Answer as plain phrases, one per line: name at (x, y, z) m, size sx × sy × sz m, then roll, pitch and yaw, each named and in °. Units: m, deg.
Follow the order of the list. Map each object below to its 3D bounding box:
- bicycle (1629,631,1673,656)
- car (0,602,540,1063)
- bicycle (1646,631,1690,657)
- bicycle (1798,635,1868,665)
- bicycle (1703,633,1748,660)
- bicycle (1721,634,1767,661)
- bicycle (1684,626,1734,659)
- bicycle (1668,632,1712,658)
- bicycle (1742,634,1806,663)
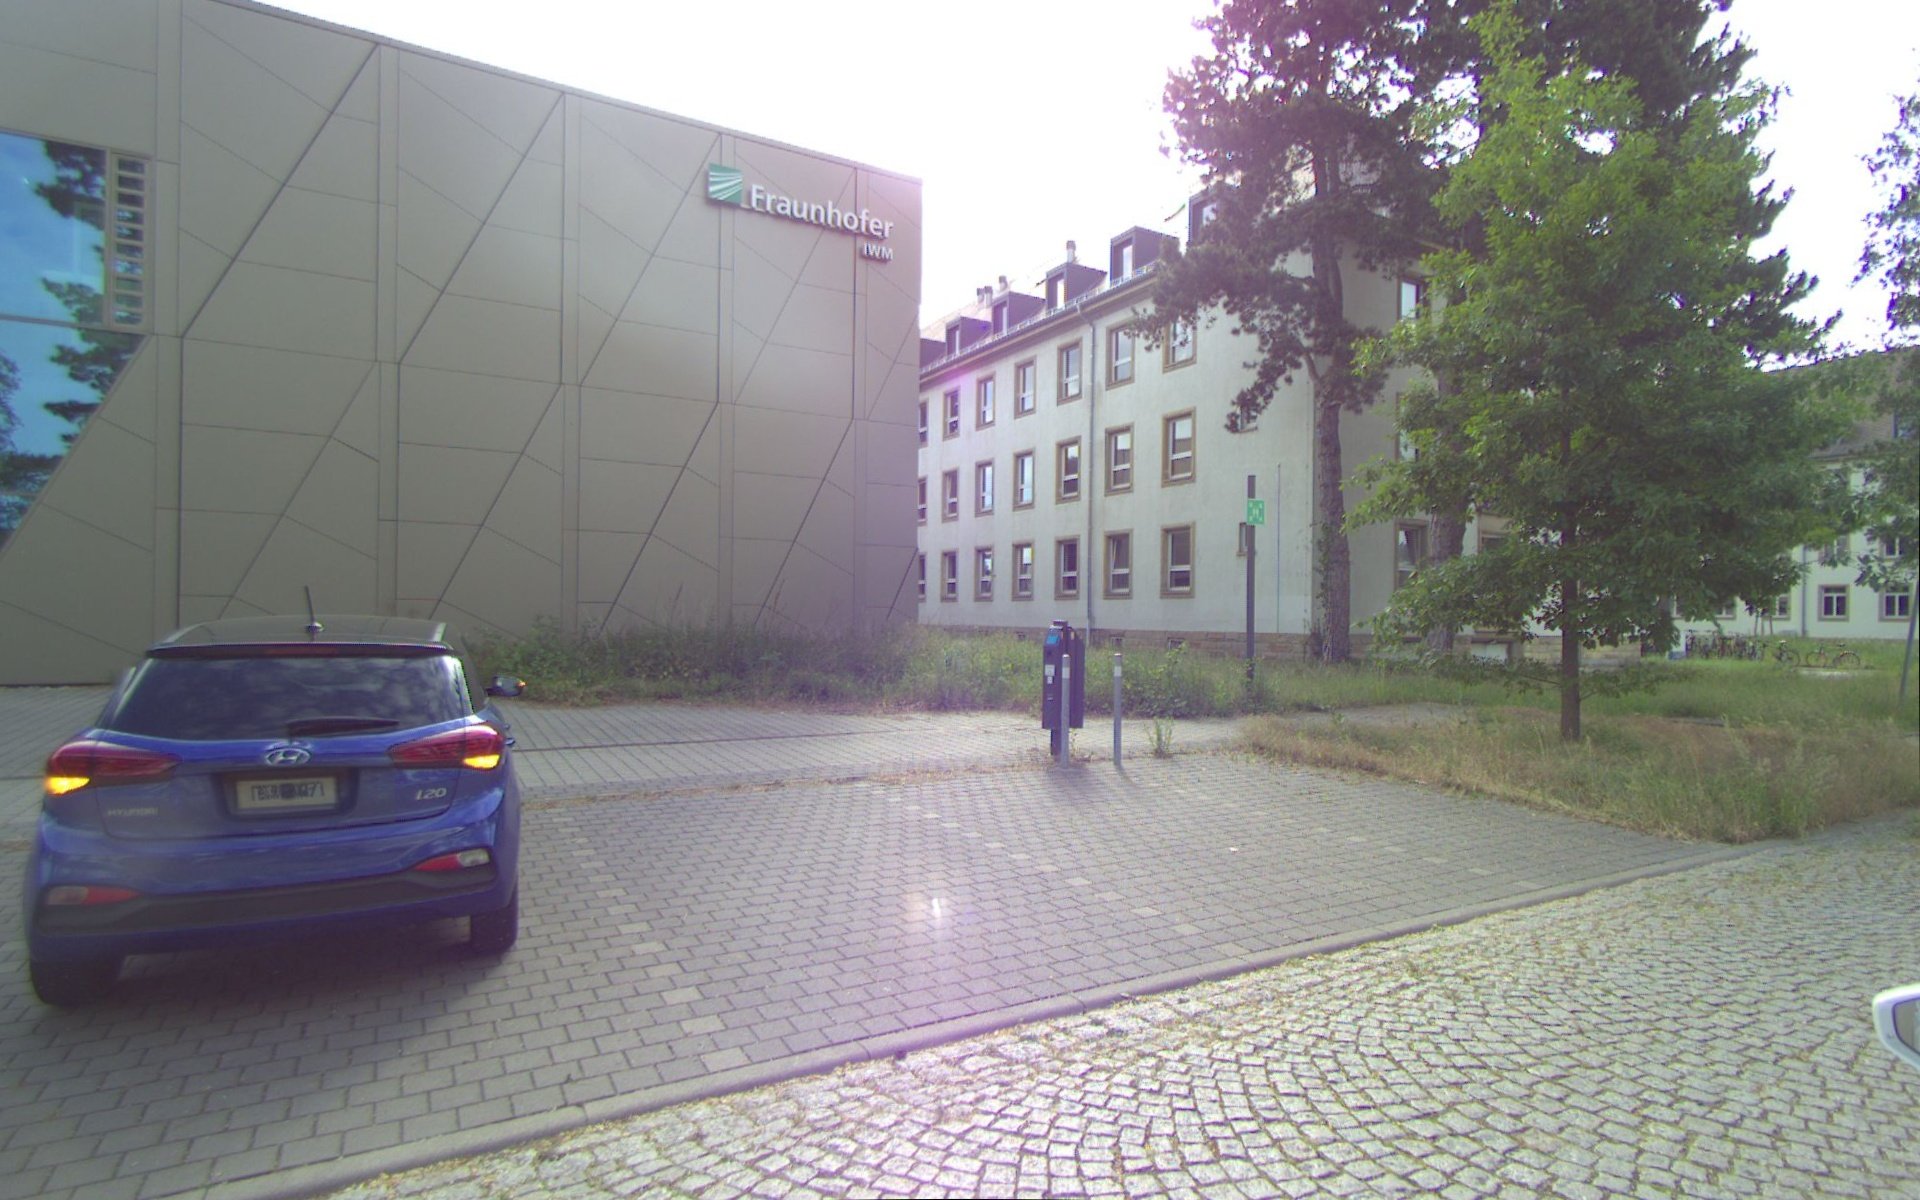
bicycle at (30.945, 1.943, 44.981) m, size 2.246 × 1.090 × 0.732 m, roll 1°, pitch -1°, yaw -30°
car at (-3.405, 0.811, 5.440) m, size 1.828 × 1.498 × 3.752 m, roll 1°, pitch 0°, yaw -27°
bicycle at (31.238, 1.938, 44.306) m, size 2.246 × 1.090 × 0.732 m, roll 1°, pitch -1°, yaw -30°
bicycle at (33.297, 1.889, 38.337) m, size 0.821 × 1.090 × 1.849 m, roll 1°, pitch -1°, yaw -27°
bicycle at (32.320, 1.965, 42.409) m, size 2.246 × 1.090 × 0.732 m, roll 1°, pitch -1°, yaw -30°
bicycle at (32.698, 1.955, 41.889) m, size 2.246 × 1.090 × 0.732 m, roll 1°, pitch -1°, yaw -30°
bicycle at (32.264, 1.828, 43.237) m, size 2.679 × 1.404 × 0.732 m, roll 1°, pitch -1°, yaw -30°
bicycle at (31.969, 1.970, 43.990) m, size 2.246 × 1.090 × 0.732 m, roll 1°, pitch -1°, yaw -30°
bicycle at (32.352, 1.907, 39.963) m, size 0.729 × 1.090 × 1.849 m, roll 1°, pitch -1°, yaw -27°
